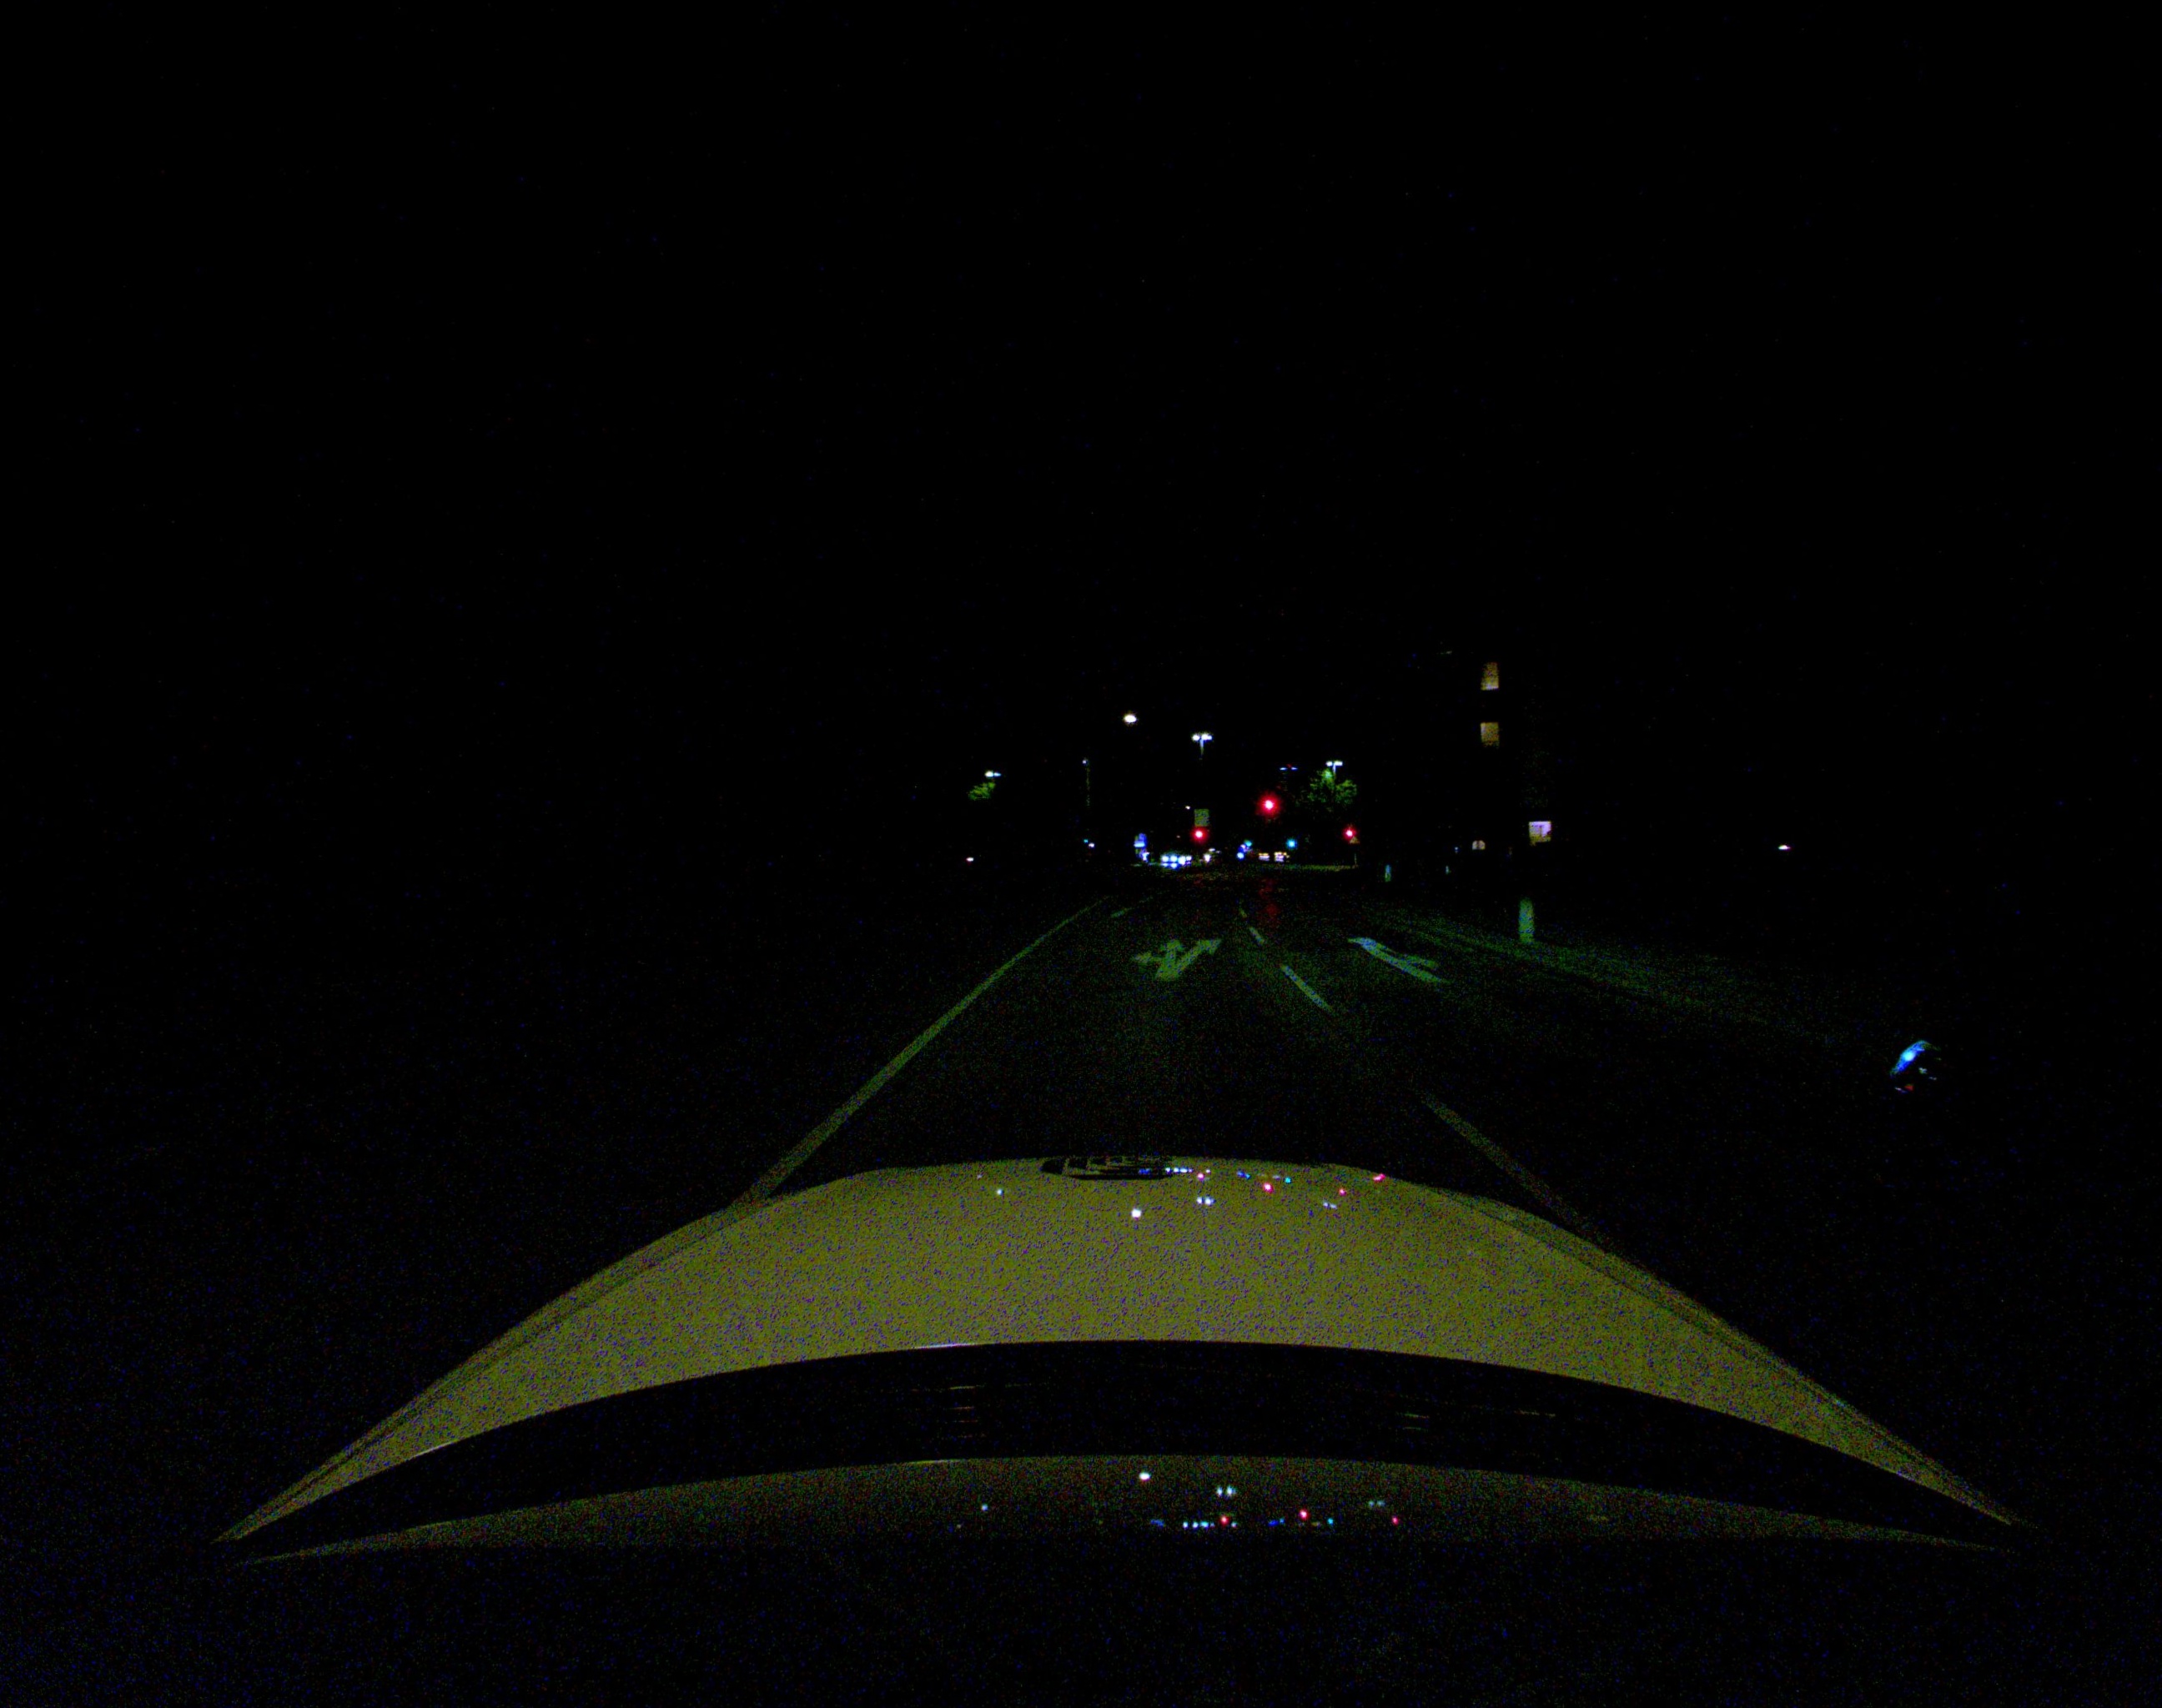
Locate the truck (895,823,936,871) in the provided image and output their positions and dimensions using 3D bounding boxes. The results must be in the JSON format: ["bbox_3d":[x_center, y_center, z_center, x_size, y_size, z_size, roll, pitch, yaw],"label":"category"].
[{"bbox_3d":[-14.188,-0.497,69.288,2.943,3.796,9.510,0,0,-14],"label":"truck"}]

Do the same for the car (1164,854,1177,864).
[{"bbox_3d":[13.677,0.777,124.334,1.605,1.515,4.013,0,0,12],"label":"car"}]

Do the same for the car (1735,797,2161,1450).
[{"bbox_3d":[3.462,0.662,1.256,1.663,1.610,4.232,0,0,3],"label":"car"}]

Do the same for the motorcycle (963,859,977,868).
[{"bbox_3d":[-11.265,0.949,82.853,0.581,0.896,2.134,-3,1,-31],"label":"motorcycle"}]

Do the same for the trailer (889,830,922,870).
[{"bbox_3d":[-17.174,-0.347,79.427,2.619,3.791,6.477,0,0,-16],"label":"trailer"}]

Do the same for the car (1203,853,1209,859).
[{"bbox_3d":[37.171,0.643,242.169,1.746,1.728,3.559,0,0,12],"label":"car"}]

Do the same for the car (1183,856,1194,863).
[{"bbox_3d":[19.856,0.950,150.500,1.746,1.322,3.559,0,0,12],"label":"car"}]

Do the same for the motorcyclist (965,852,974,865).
[{"bbox_3d":[-11.306,0.480,82.554,0.650,1.261,0.573,0,-1,-31],"label":"motorcyclist"}]
